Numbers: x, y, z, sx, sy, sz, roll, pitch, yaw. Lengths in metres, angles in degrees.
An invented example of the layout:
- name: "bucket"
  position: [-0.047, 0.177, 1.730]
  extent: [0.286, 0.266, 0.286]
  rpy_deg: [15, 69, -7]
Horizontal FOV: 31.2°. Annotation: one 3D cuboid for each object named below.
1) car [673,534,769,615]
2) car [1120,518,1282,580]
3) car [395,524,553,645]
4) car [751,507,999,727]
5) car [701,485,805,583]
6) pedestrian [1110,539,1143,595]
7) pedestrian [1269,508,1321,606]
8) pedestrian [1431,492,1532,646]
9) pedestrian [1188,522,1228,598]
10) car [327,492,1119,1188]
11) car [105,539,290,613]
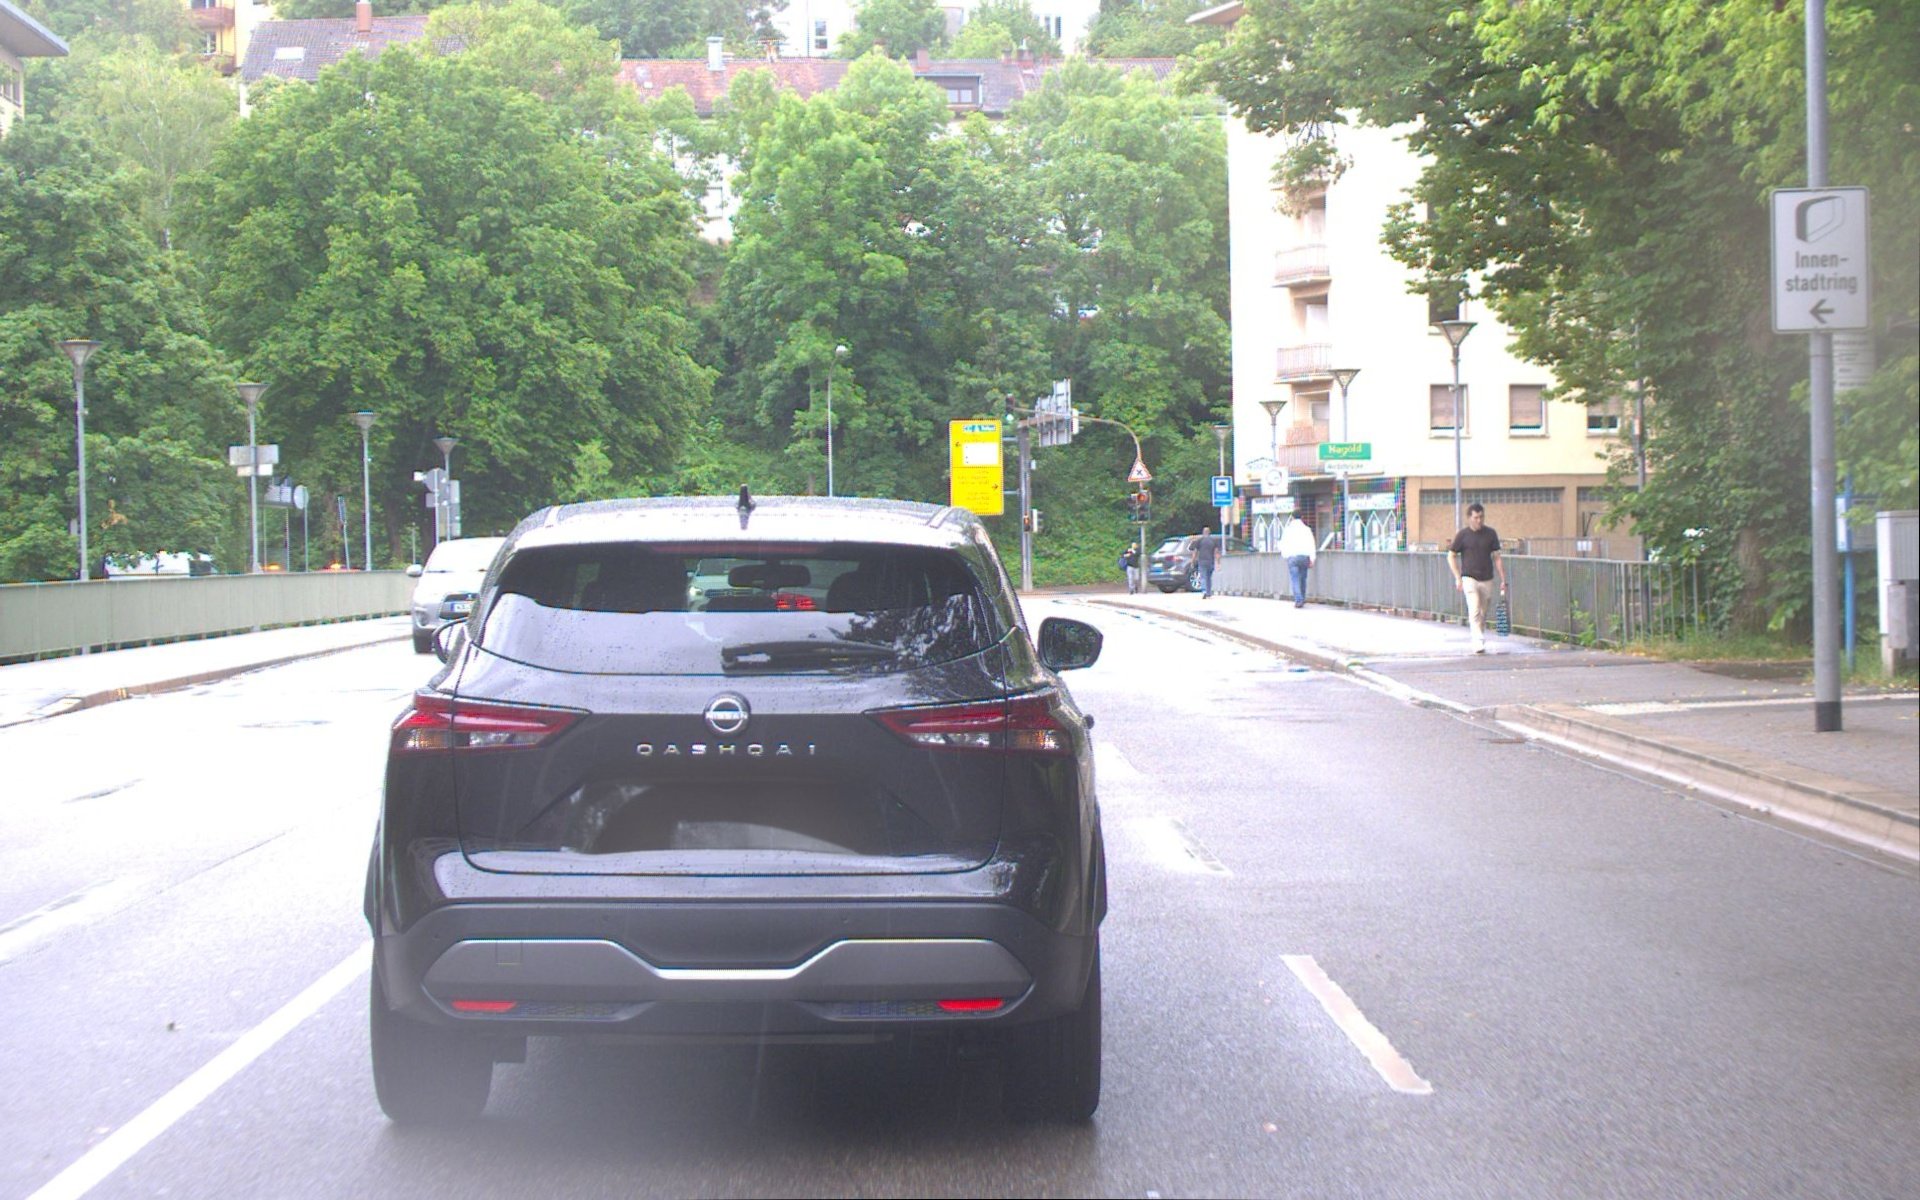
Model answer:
- name: "car"
  position: [-4.738, -0.538, 68.590]
  extent: [1.781, 1.469, 4.167]
  rpy_deg: [-2, 2, -3]
- name: "car"
  position: [7.124, -1.511, 101.528]
  extent: [4.366, 1.643, 1.884]
  rpy_deg: [-3, 1, -26]
- name: "car"
  position: [-6.907, -0.262, 49.203]
  extent: [1.813, 1.573, 4.232]
  rpy_deg: [-2, 2, -3]
- name: "car"
  position: [-0.653, 0.082, 27.272]
  extent: [1.811, 1.597, 4.000]
  rpy_deg: [0, 1, -1]
- name: "car"
  position: [-5.202, -1.715, 87.333]
  extent: [2.289, 2.300, 6.510]
  rpy_deg: [-2, 2, -1]
- name: "pedestrian"
  position: [4.892, -0.973, 101.264]
  extent: [0.862, 1.613, 0.839]
  rpy_deg: [-2, 0, 0]
- name: "pedestrian"
  position: [6.065, -0.781, 62.257]
  extent: [0.779, 1.746, 1.061]
  rpy_deg: [-1, 0, -1]
- name: "pedestrian"
  position: [5.883, -0.347, 38.838]
  extent: [0.847, 1.670, 1.168]
  rpy_deg: [-3, 1, -1]
- name: "pedestrian"
  position: [5.616, -0.905, 77.996]
  extent: [0.761, 1.671, 0.781]
  rpy_deg: [-3, 1, 0]
- name: "car"
  position: [-0.571, 0.508, 9.879]
  extent: [1.811, 1.597, 4.000]
  rpy_deg: [0, 1, -1]
- name: "car"
  position: [-20.592, -0.660, 92.990]
  extent: [4.741, 1.848, 2.001]
  rpy_deg: [-1, 3, -9]
